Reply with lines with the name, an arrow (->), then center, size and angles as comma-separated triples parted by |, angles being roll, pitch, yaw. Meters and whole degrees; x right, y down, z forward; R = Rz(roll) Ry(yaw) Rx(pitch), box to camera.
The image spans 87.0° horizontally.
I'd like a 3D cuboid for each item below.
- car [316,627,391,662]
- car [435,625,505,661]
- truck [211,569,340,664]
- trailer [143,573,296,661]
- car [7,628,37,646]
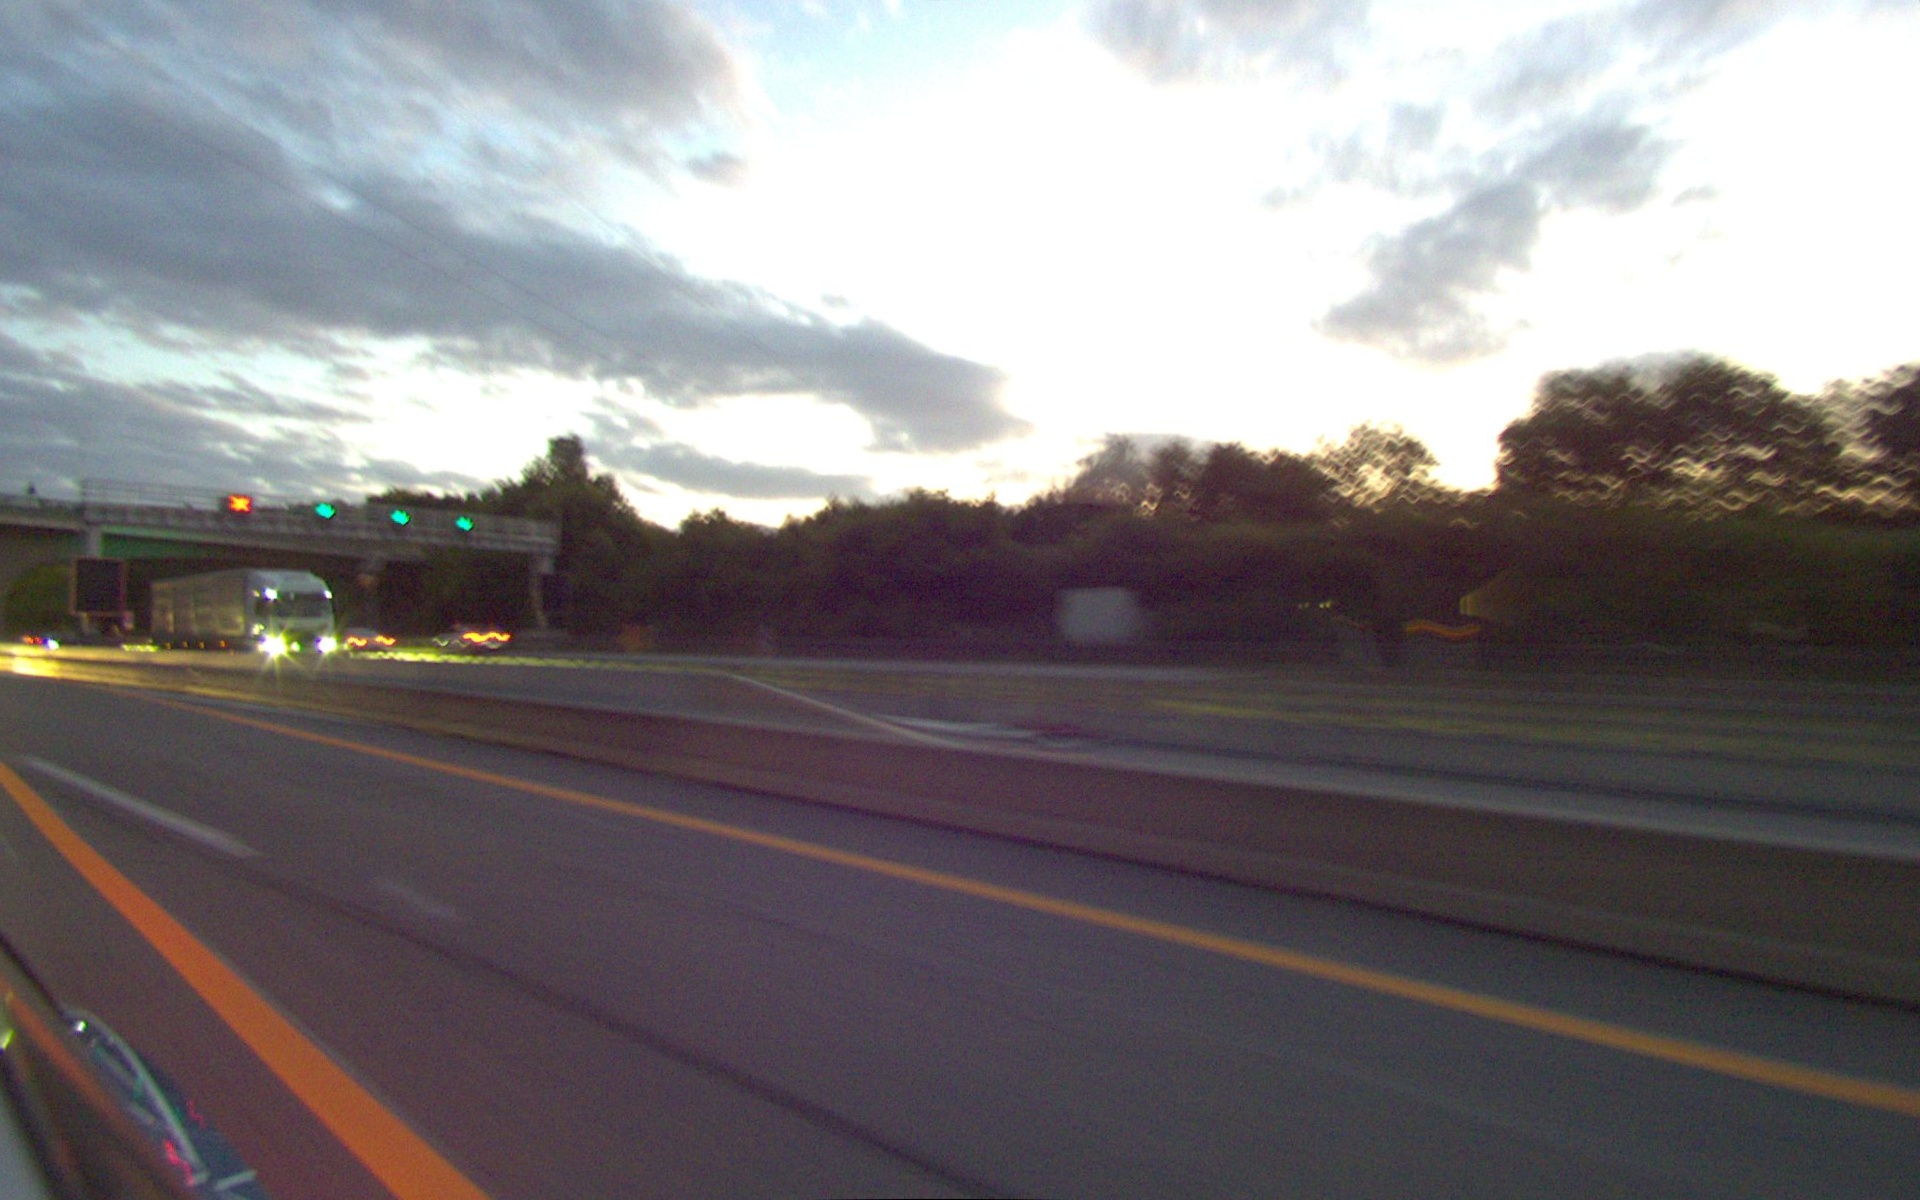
car -> -31.893, 2.313, 53.171 | 4.836, 1.673, 1.812 | -1, 0, 39
car -> -25.685, 2.222, 53.010 | 3.940, 1.727, 1.888 | -1, 0, 40
truck -> -29.466, 0.690, 43.476 | 6.295, 3.803, 2.776 | -1, 0, 39
trailer -> -35.490, 0.810, 48.264 | 11.819, 3.811, 2.772 | -1, 0, 38
car -> -105.838, 4.159, 114.215 | 3.996, 2.029, 1.974 | -2, -2, 40
